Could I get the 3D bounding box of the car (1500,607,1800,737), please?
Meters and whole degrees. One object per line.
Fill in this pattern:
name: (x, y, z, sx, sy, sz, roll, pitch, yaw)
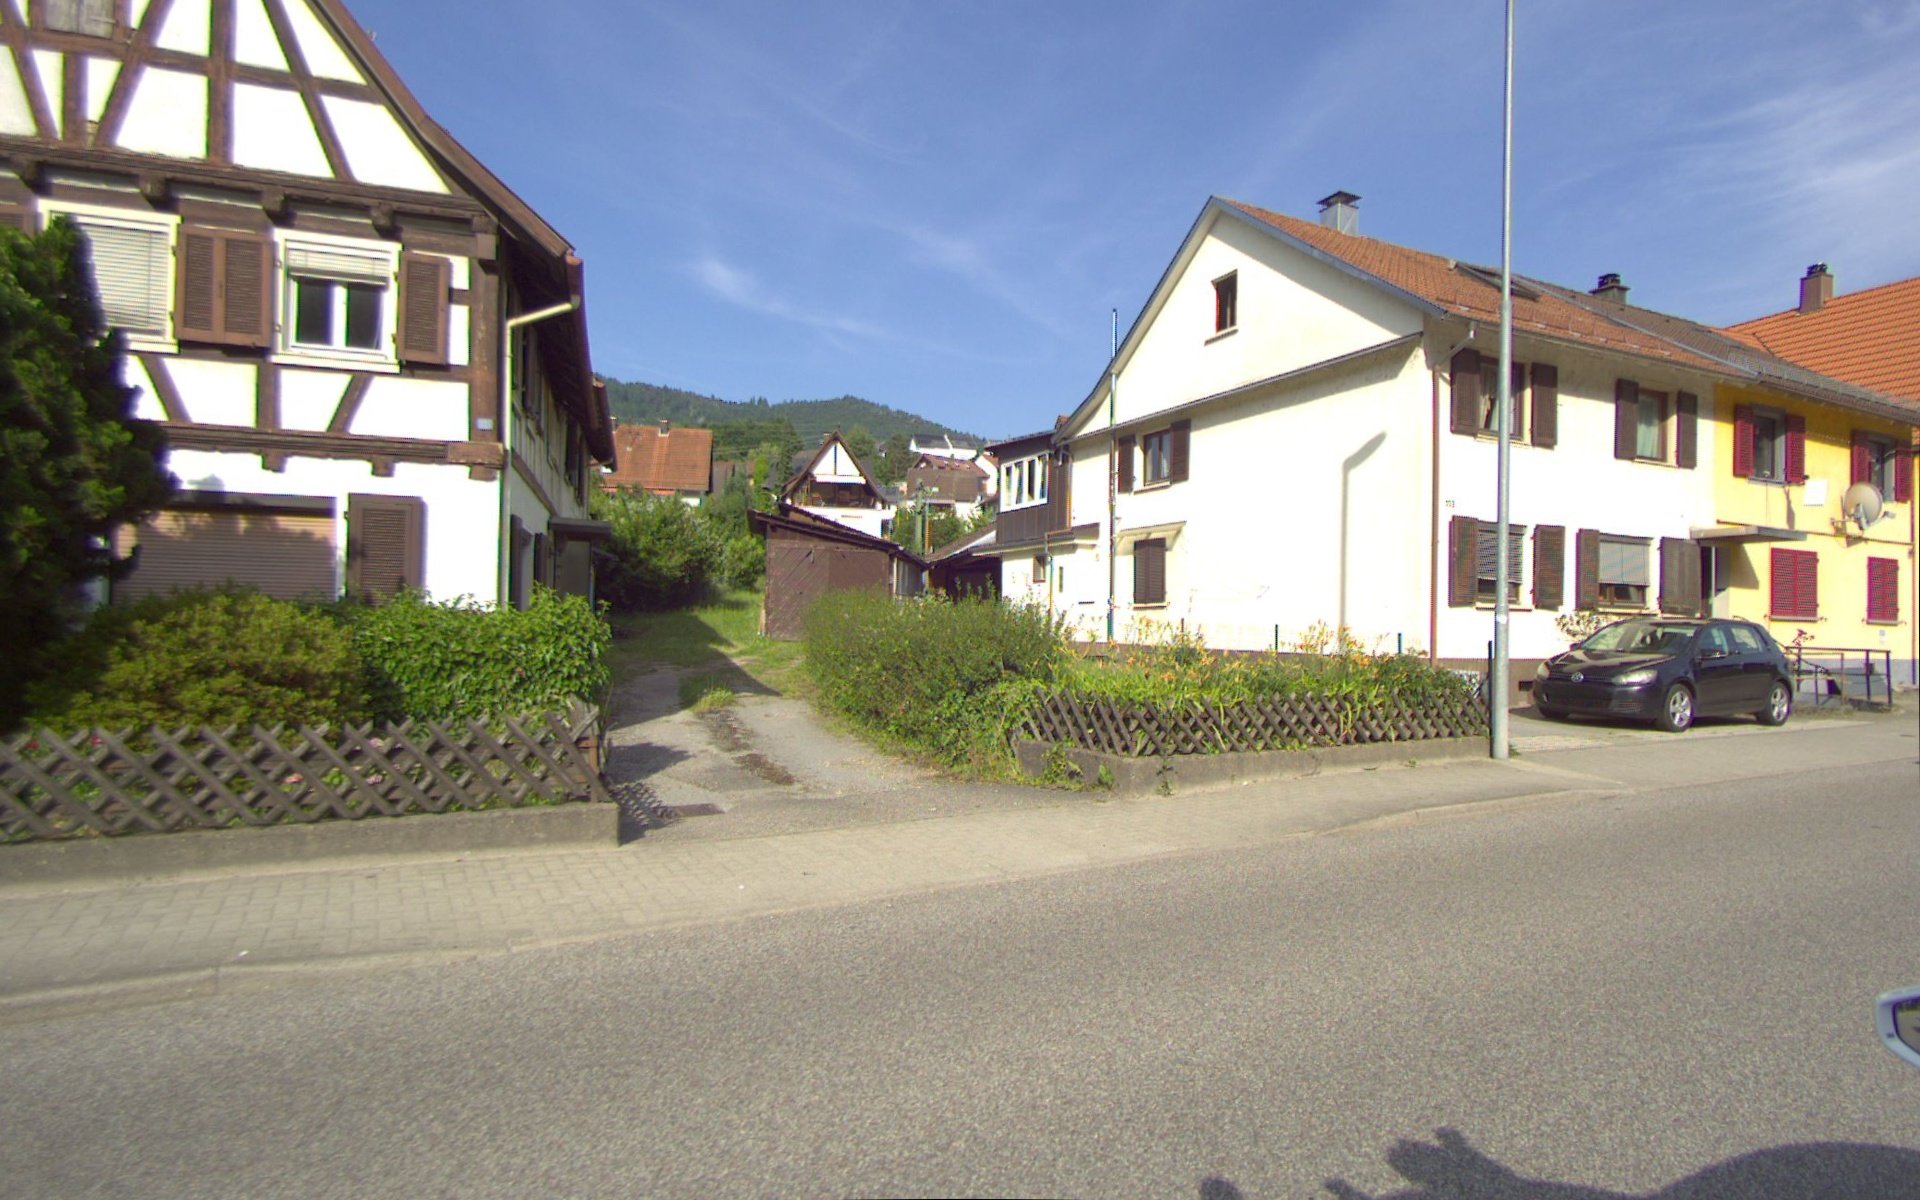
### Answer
car: (9.679, 0.919, 14.038, 4.187, 1.539, 1.875, 1, 0, -31)
